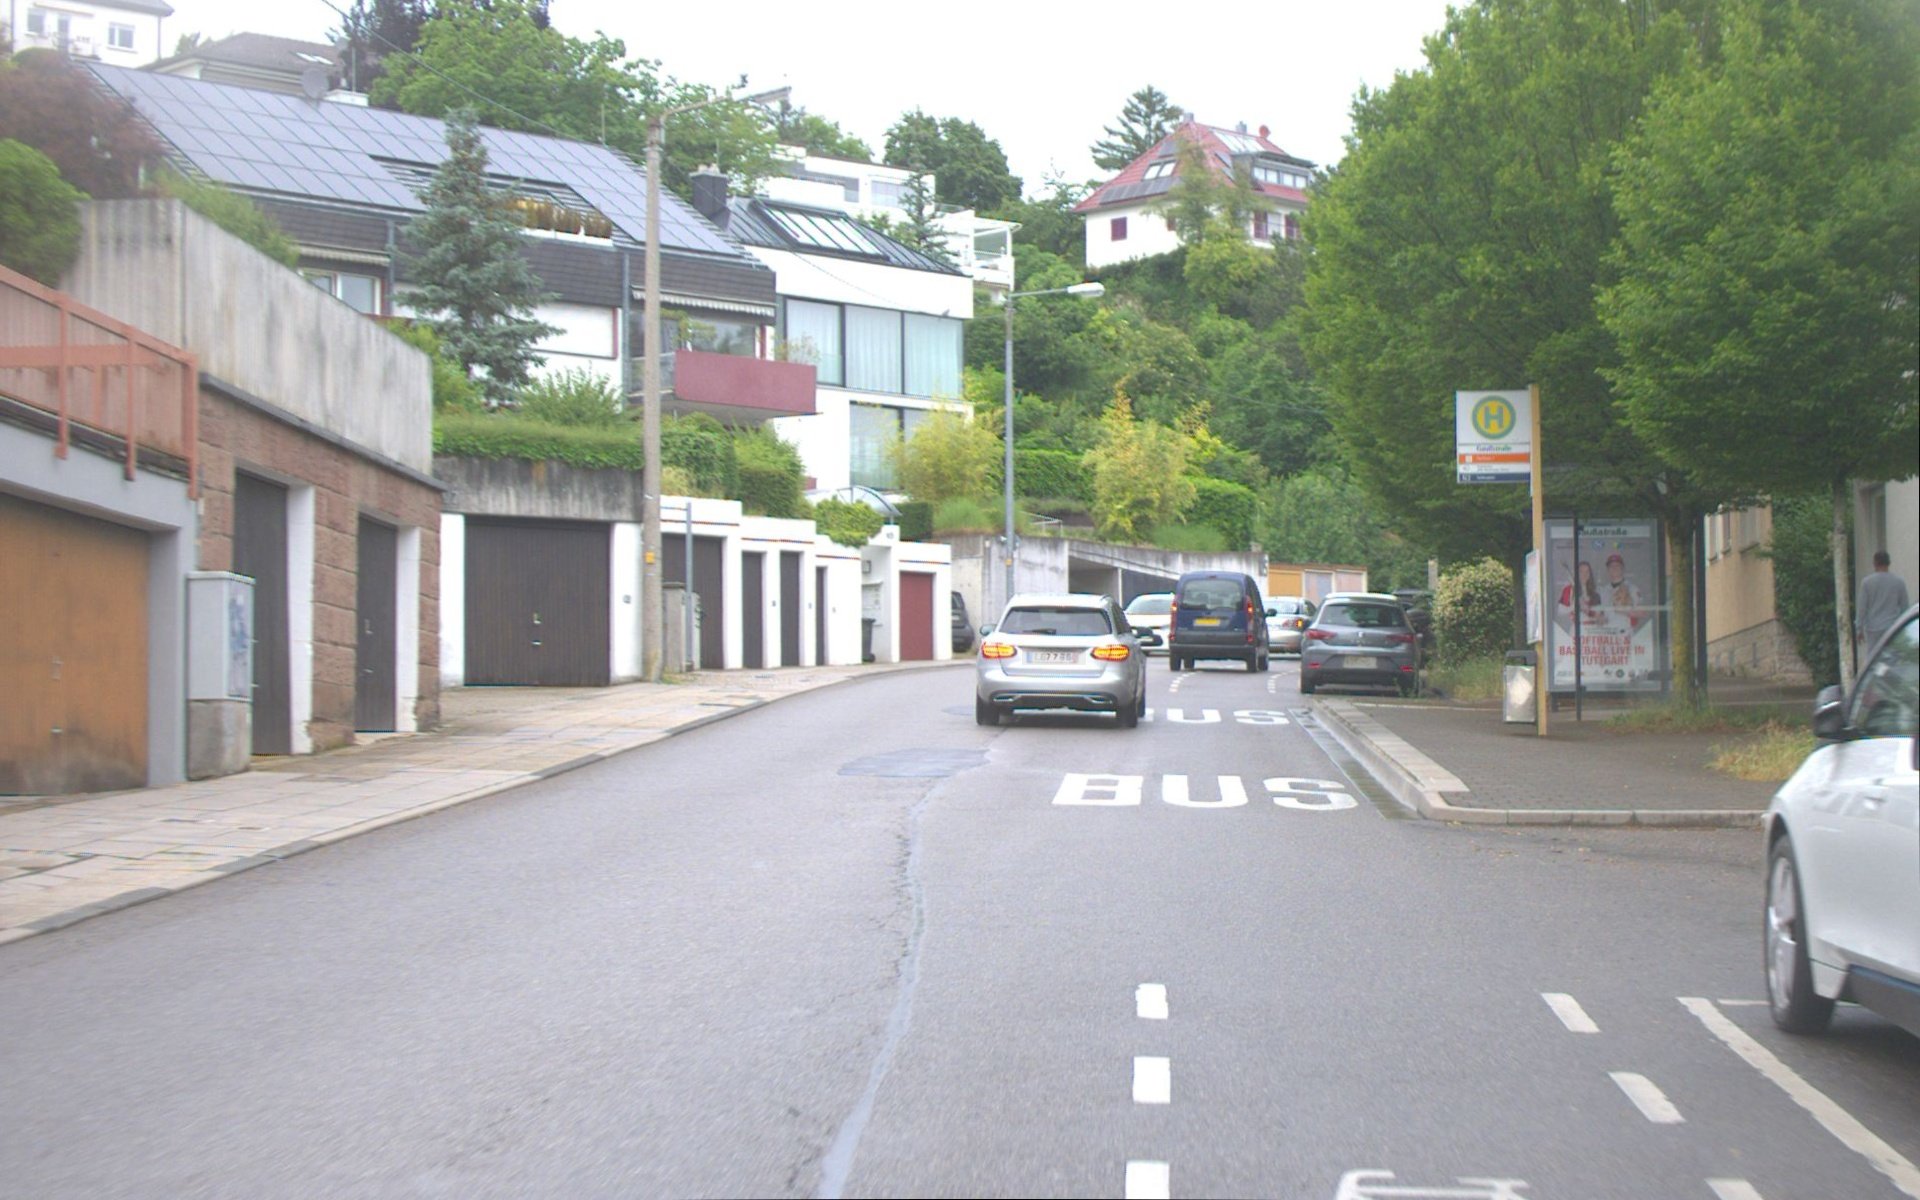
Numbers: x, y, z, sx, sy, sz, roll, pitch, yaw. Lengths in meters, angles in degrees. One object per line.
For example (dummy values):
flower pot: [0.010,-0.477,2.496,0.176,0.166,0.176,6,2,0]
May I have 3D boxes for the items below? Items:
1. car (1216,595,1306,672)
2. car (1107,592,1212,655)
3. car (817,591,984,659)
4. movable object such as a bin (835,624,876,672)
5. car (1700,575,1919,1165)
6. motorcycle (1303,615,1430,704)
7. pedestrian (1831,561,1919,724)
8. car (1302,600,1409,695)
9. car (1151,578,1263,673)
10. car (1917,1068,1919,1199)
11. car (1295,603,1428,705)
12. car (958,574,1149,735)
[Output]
car: [6.913,0.755,78.743,1.994,1.702,3.999,1,0,6]
car: [4.888,0.556,83.768,1.628,1.511,3.829,0,0,18]
car: [-1.459,0.590,82.633,1.763,1.473,3.929,1,1,-44]
movable object such as a bin: [-2.147,0.985,70.776,0.544,0.960,0.644,1,0,44]
car: [3.548,0.760,10.604,1.729,1.602,4.119,2,0,2]
motorcycle: [6.488,0.944,54.962,1.913,1.325,0.787,2,0,2]
pedestrian: [9.781,0.442,36.467,0.833,1.680,1.044,-2,0,5]
car: [6.671,0.764,57.786,1.657,1.484,3.999,2,0,8]
car: [4.605,0.468,64.216,1.994,1.702,3.999,1,0,4]
car: [3.106,0.831,5.594,1.779,1.434,4.881,1,0,1]
car: [6.036,0.780,51.731,1.879,1.412,4.466,1,0,6]
car: [1.034,0.589,39.057,2.025,1.702,4.215,1,0,1]
